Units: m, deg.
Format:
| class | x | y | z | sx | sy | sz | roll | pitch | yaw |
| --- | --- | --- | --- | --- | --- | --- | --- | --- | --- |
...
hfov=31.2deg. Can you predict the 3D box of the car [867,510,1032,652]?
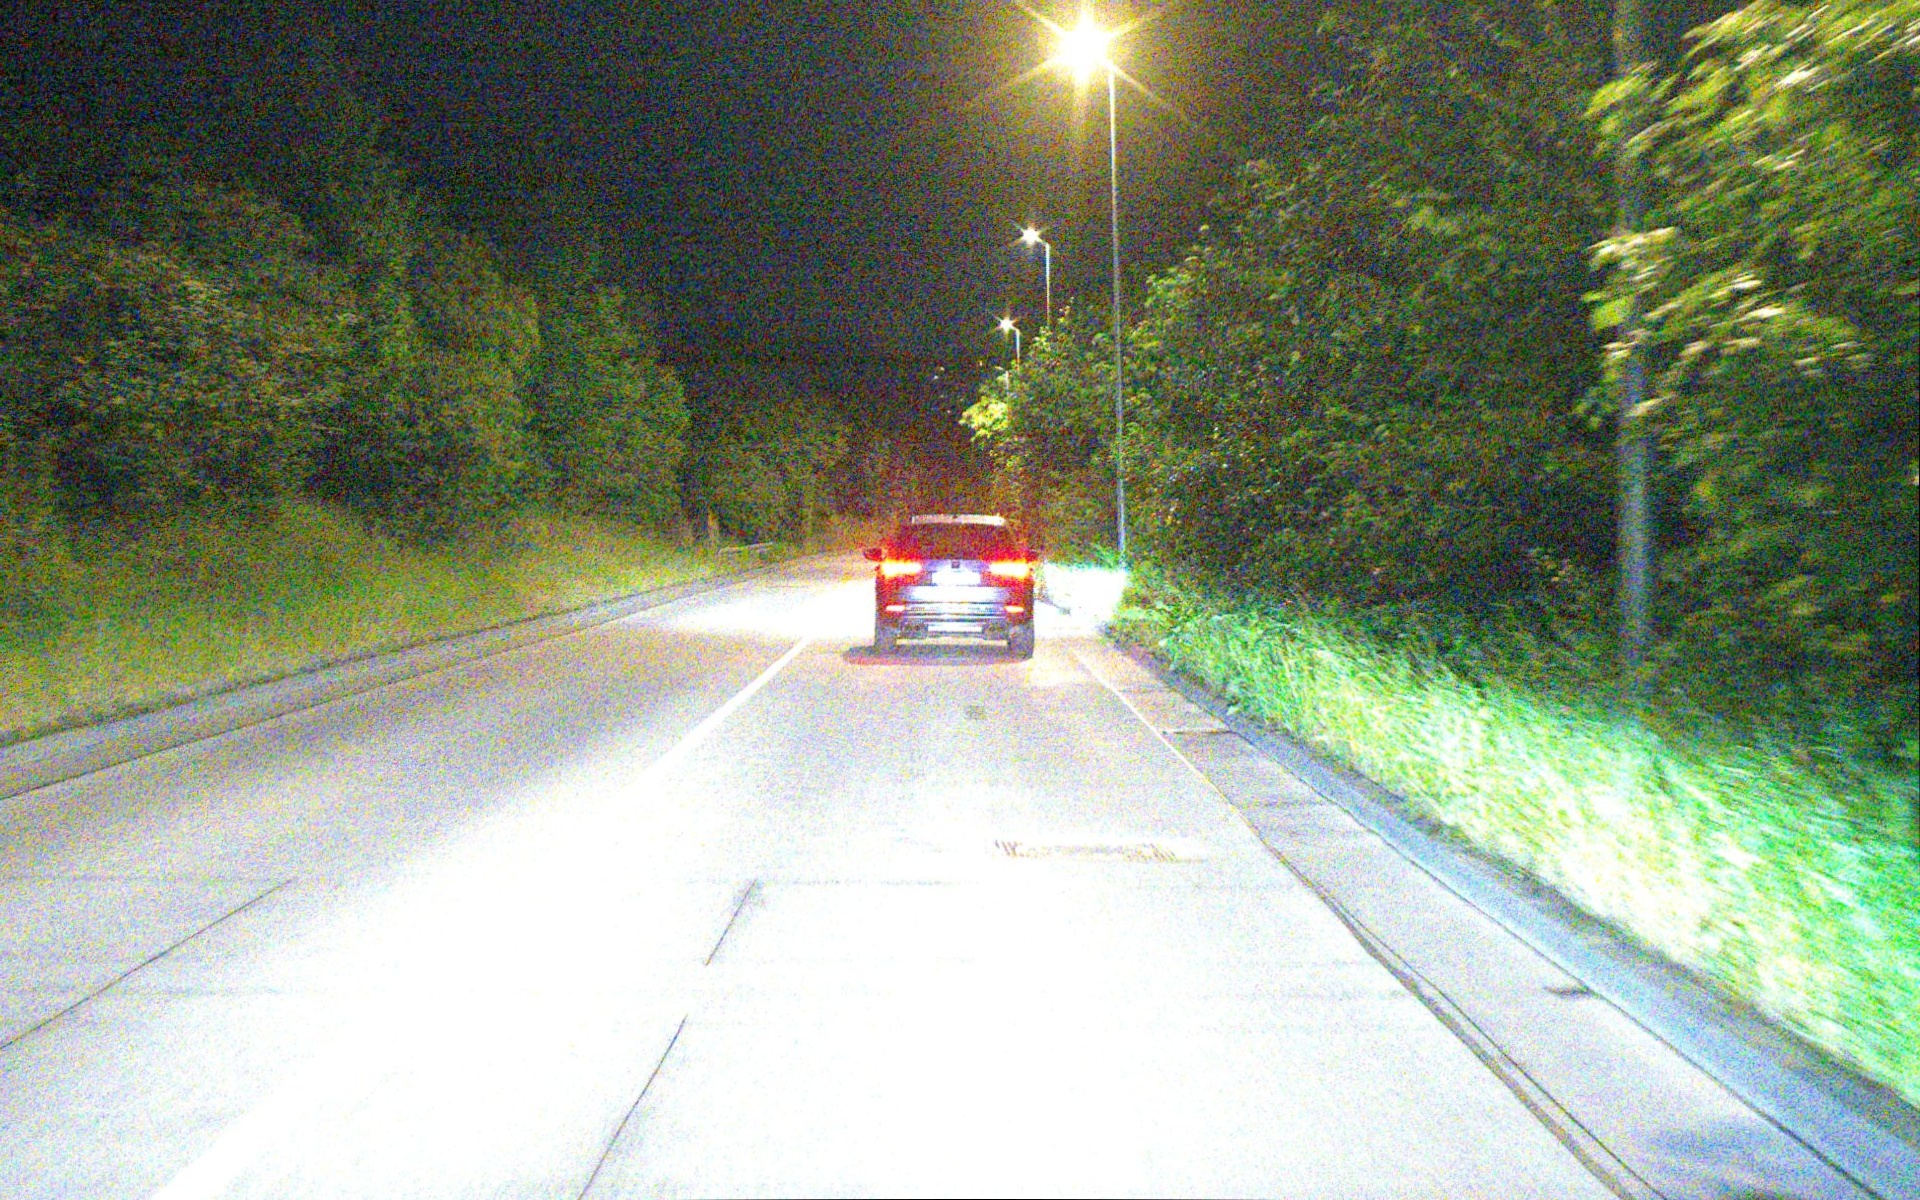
| class | x | y | z | sx | sy | sz | roll | pitch | yaw |
| --- | --- | --- | --- | --- | --- | --- | --- | --- | --- |
| car | -0.160 | -0.257 | 39.737 | 1.814 | 1.568 | 3.944 | 0 | 1 | -1 |
